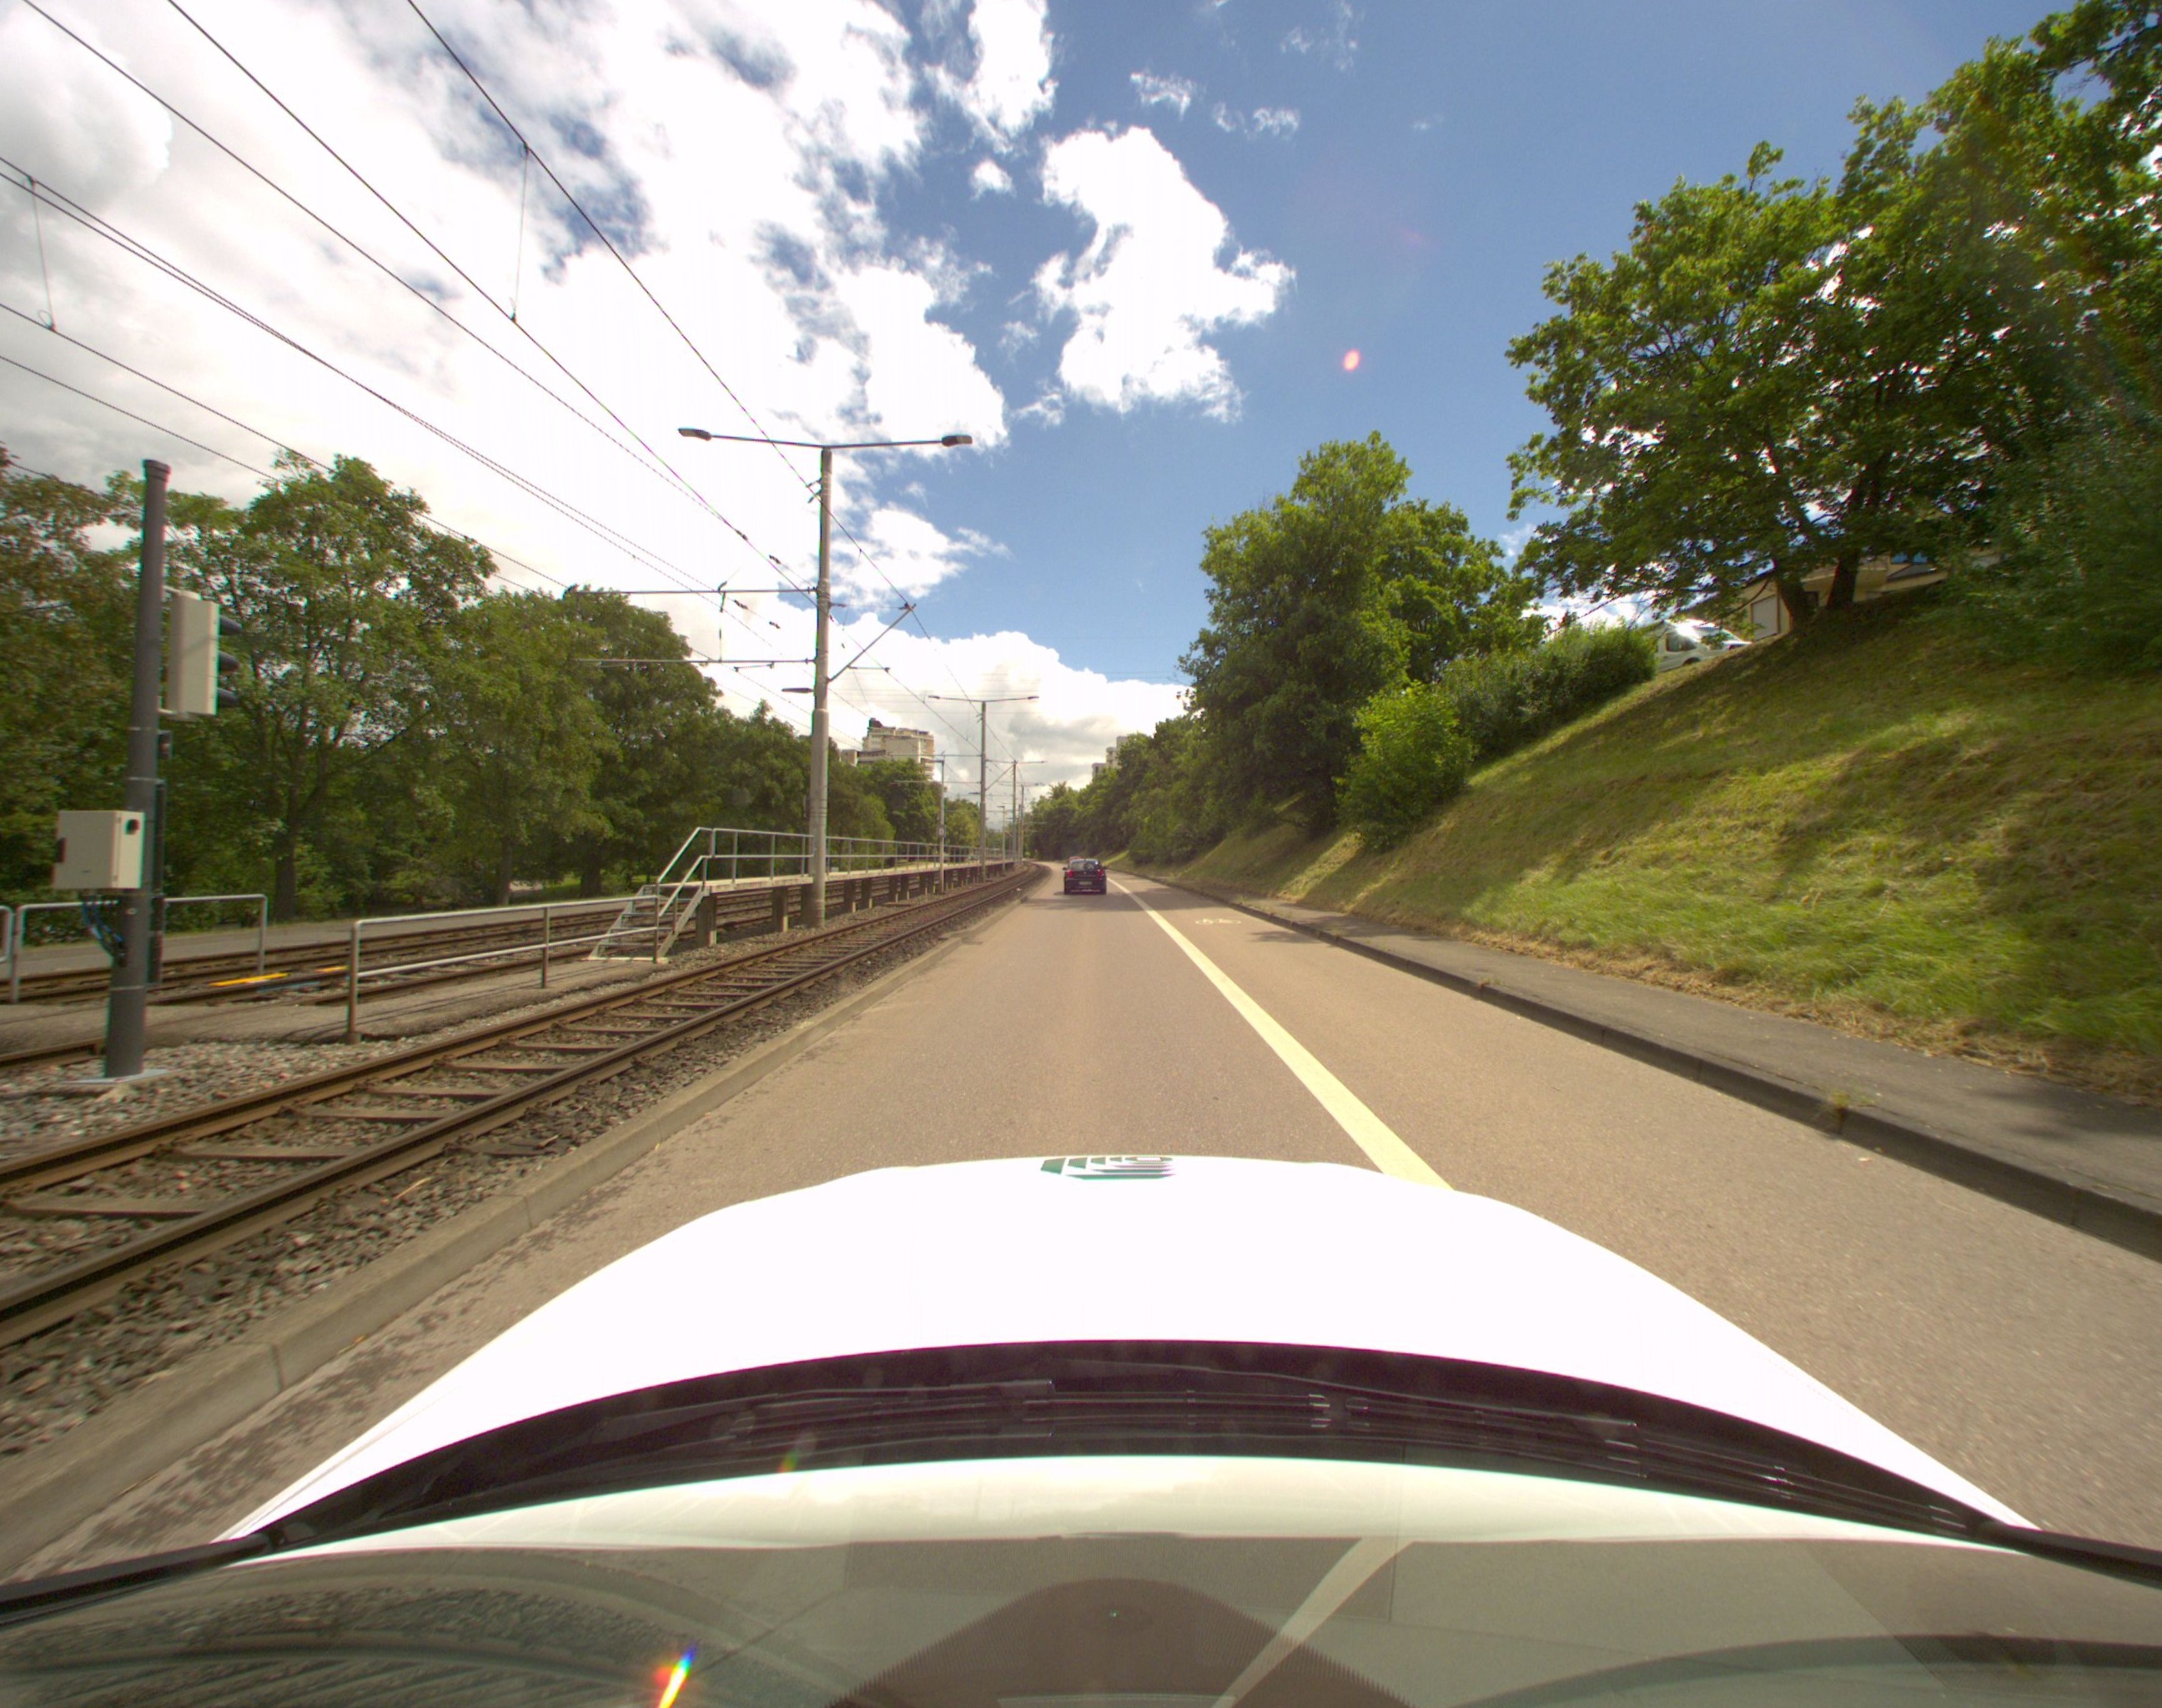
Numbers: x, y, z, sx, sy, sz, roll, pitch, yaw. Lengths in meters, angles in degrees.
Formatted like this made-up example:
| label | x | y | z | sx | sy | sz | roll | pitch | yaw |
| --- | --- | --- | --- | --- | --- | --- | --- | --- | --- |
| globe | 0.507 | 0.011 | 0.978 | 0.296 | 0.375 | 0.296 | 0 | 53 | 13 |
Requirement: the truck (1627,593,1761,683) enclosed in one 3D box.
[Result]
| label | x | y | z | sx | sy | sz | roll | pitch | yaw |
| --- | --- | --- | --- | --- | --- | --- | --- | --- | --- |
| truck | 20.667 | -7.225 | 27.649 | 1.381 | 1.941 | 3.962 | 0 | -1 | -4 |

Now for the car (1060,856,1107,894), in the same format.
| label | x | y | z | sx | sy | sz | roll | pitch | yaw |
| --- | --- | --- | --- | --- | --- | --- | --- | --- | --- |
| car | 0.055 | 0.833 | 33.634 | 1.776 | 1.459 | 3.918 | -1 | 0 | -2 |

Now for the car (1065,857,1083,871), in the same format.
| label | x | y | z | sx | sy | sz | roll | pitch | yaw |
| --- | --- | --- | --- | --- | --- | --- | --- | --- | --- |
| car | -0.746 | 1.081 | 88.185 | 1.777 | 1.460 | 3.916 | 0 | -1 | -3 |
